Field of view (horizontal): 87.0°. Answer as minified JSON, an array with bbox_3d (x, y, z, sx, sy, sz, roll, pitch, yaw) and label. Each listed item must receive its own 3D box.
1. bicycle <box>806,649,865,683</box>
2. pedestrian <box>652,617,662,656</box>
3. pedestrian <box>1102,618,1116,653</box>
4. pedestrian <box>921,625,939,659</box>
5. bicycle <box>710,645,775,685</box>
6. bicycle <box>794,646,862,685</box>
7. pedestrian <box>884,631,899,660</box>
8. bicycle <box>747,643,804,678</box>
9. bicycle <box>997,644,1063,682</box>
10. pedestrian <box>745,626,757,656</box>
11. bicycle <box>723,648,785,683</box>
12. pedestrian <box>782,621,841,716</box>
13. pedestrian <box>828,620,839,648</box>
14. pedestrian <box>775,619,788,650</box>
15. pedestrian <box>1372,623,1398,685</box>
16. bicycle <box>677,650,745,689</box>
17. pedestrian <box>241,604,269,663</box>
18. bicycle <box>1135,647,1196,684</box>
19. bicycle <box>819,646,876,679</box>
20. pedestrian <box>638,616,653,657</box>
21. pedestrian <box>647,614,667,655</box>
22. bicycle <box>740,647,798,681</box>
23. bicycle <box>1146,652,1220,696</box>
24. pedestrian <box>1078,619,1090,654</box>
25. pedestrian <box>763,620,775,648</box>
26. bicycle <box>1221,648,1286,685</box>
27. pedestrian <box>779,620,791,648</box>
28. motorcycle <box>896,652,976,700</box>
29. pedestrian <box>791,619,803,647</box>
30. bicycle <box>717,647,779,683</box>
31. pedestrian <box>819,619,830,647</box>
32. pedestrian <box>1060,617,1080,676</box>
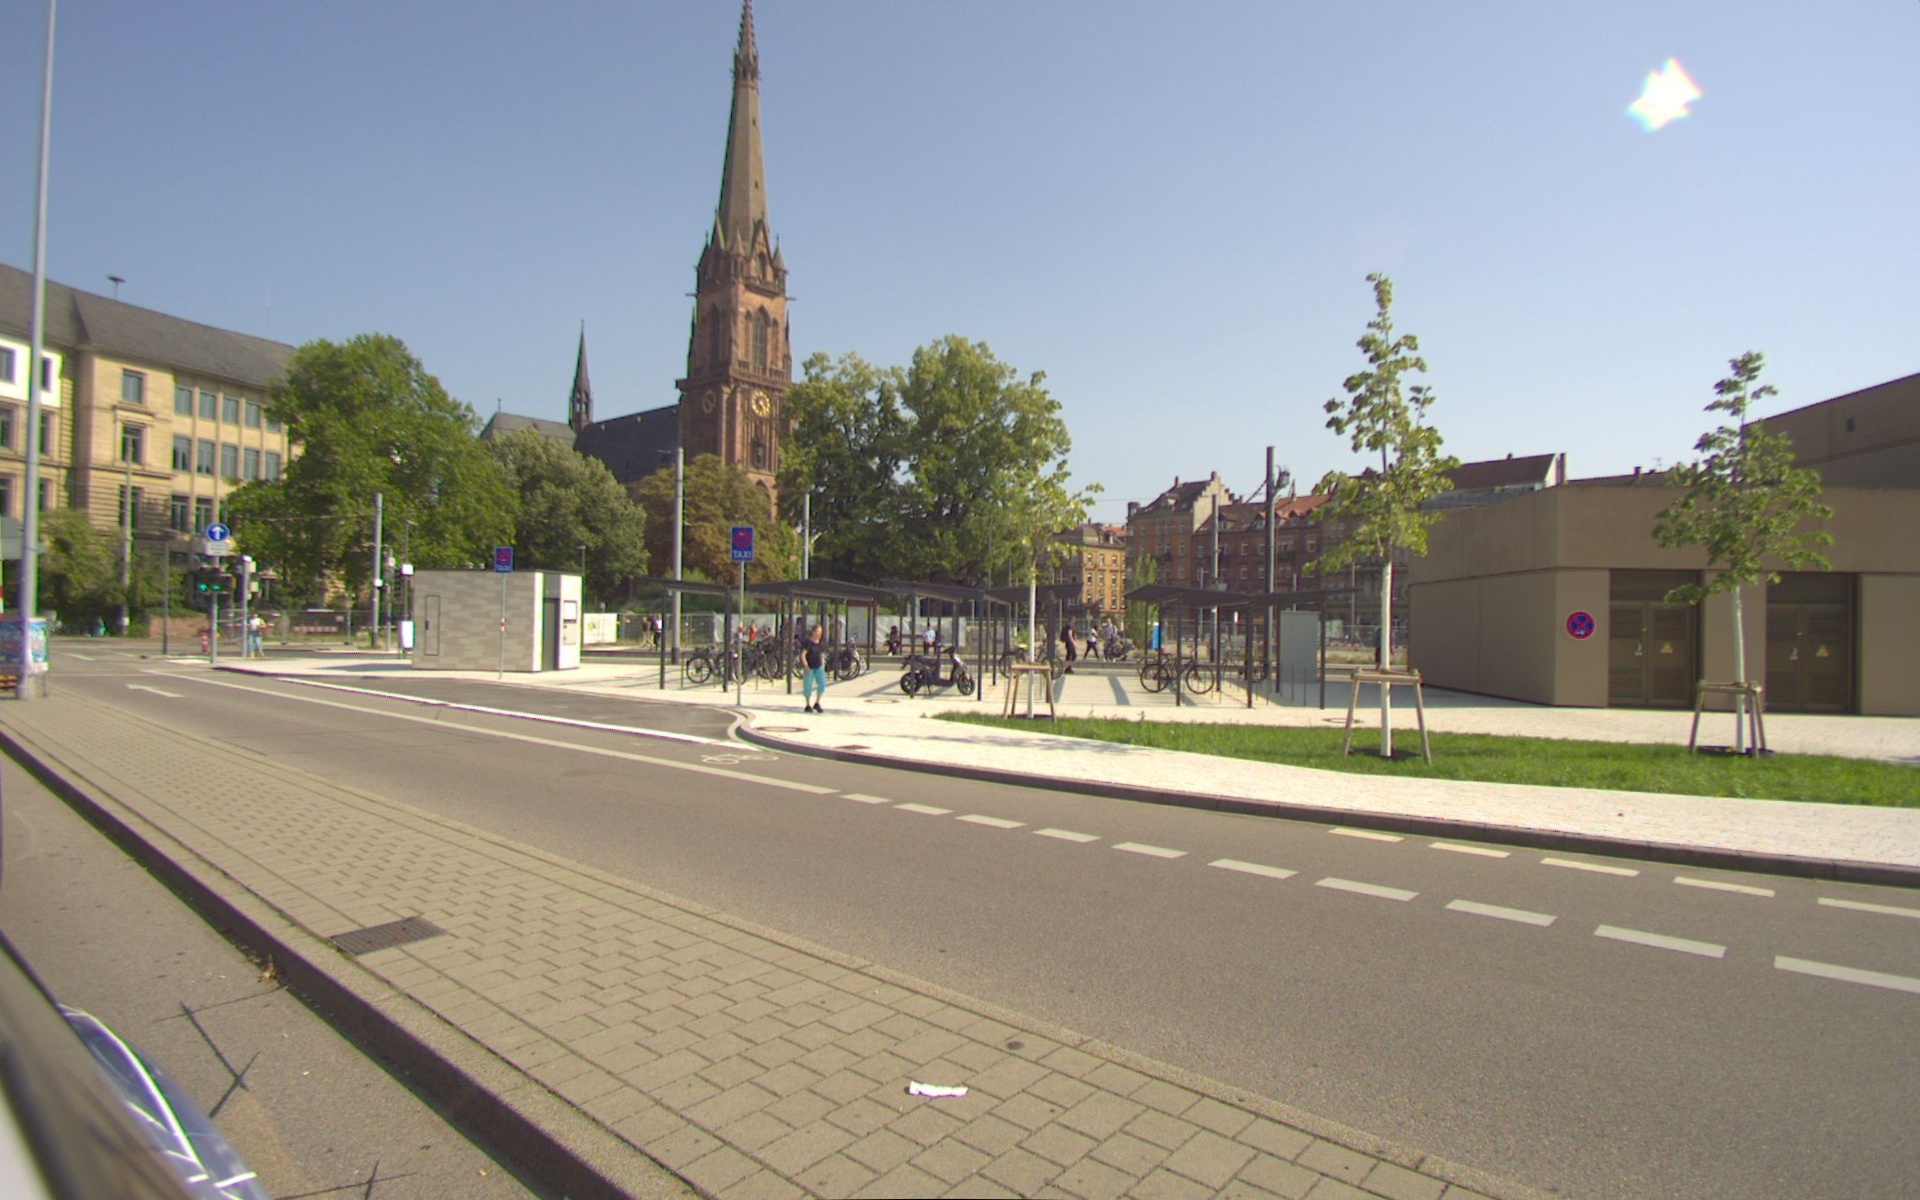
[{"bbox_3d":[-3.442,1.821,27.985,1.570,0.899,0.409,1,-2,9],"label":"bicycle"},{"bbox_3d":[-13.391,1.627,44.790,0.242,1.707,0.392,1,-2,9],"label":"pedestrian"},{"bbox_3d":[6.266,1.480,42.506,0.562,1.432,0.468,-1,0,9],"label":"pedestrian"},{"bbox_3d":[-1.274,1.784,42.950,0.636,1.405,0.661,1,-2,5],"label":"pedestrian"},{"bbox_3d":[-5.585,1.671,26.035,1.570,0.974,0.421,1,-2,9],"label":"bicycle"},{"bbox_3d":[-3.522,1.742,27.020,1.694,0.994,0.532,1,-2,9],"label":"bicycle"},{"bbox_3d":[-2.931,1.954,43.276,0.568,1.206,0.466,1,-2,9],"label":"pedestrian"},{"bbox_3d":[-5.397,1.766,29.675,1.570,0.985,0.451,1,0,9],"label":"bicycle"},{"bbox_3d":[1.995,1.794,28.839,1.853,1.017,0.460,1,-2,9],"label":"bicycle"},{"bbox_3d":[-9.292,1.817,44.953,0.411,1.328,0.392,-1,0,13],"label":"pedestrian"},{"bbox_3d":[-5.560,1.772,27.338,1.570,0.899,0.409,1,-2,9],"label":"bicycle"},{"bbox_3d":[-2.547,1.165,17.408,0.663,1.577,0.748,0,-3,24],"label":"pedestrian"},{"bbox_3d":[-5.676,1.513,45.413,0.378,1.233,0.438,-1,0,9],"label":"pedestrian"},{"bbox_3d":[-7.777,1.483,44.069,0.430,1.328,0.438,-1,0,9],"label":"pedestrian"},{"bbox_3d":[12.549,1.587,29.874,0.650,1.783,0.473,0,-2,32],"label":"pedestrian"},{"bbox_3d":[-6.094,1.685,24.776,1.570,0.899,0.400,1,-2,9],"label":"bicycle"},{"bbox_3d":[-24.746,1.181,35.517,0.722,2.029,0.715,2,-2,-39],"label":"pedestrian"},{"bbox_3d":[6.044,1.918,29.763,1.725,1.017,0.400,1,-2,9],"label":"bicycle"},{"bbox_3d":[-3.265,1.803,29.342,1.570,0.899,0.409,1,-2,9],"label":"bicycle"},{"bbox_3d":[-13.468,1.573,43.313,0.510,1.720,0.505,2,-1,-24],"label":"pedestrian"},{"bbox_3d":[-13.248,1.512,44.274,0.389,1.762,0.707,-1,-2,40],"label":"pedestrian"},{"bbox_3d":[-5.367,1.783,28.444,1.570,0.899,0.400,1,-2,9],"label":"bicycle"},{"bbox_3d":[5.419,1.787,24.672,1.725,1.017,0.400,1,-2,9],"label":"bicycle"},{"bbox_3d":[5.117,1.511,41.717,0.464,1.432,0.567,-1,0,9],"label":"pedestrian"},{"bbox_3d":[-8.501,1.512,45.101,0.378,1.233,0.438,-1,0,9],"label":"pedestrian"},{"bbox_3d":[8.426,1.908,29.082,1.723,1.028,0.473,1,-2,7],"label":"bicycle"},{"bbox_3d":[-7.831,1.502,45.346,0.378,1.233,0.438,-1,0,9],"label":"pedestrian"},{"bbox_3d":[-0.538,1.713,22.916,1.725,1.017,0.542,1,-2,9],"label":"motorcycle"},{"bbox_3d":[-7.302,1.495,45.322,0.378,1.233,0.438,-1,0,9],"label":"pedestrian"},{"bbox_3d":[-5.607,1.714,26.787,1.570,0.899,0.400,1,-2,9],"label":"bicycle"},{"bbox_3d":[-6.102,1.484,45.509,0.378,1.233,0.438,-1,0,9],"label":"pedestrian"},{"bbox_3d":[3.426,1.455,31.512,0.585,1.815,0.333,1,-2,3],"label":"pedestrian"}]
